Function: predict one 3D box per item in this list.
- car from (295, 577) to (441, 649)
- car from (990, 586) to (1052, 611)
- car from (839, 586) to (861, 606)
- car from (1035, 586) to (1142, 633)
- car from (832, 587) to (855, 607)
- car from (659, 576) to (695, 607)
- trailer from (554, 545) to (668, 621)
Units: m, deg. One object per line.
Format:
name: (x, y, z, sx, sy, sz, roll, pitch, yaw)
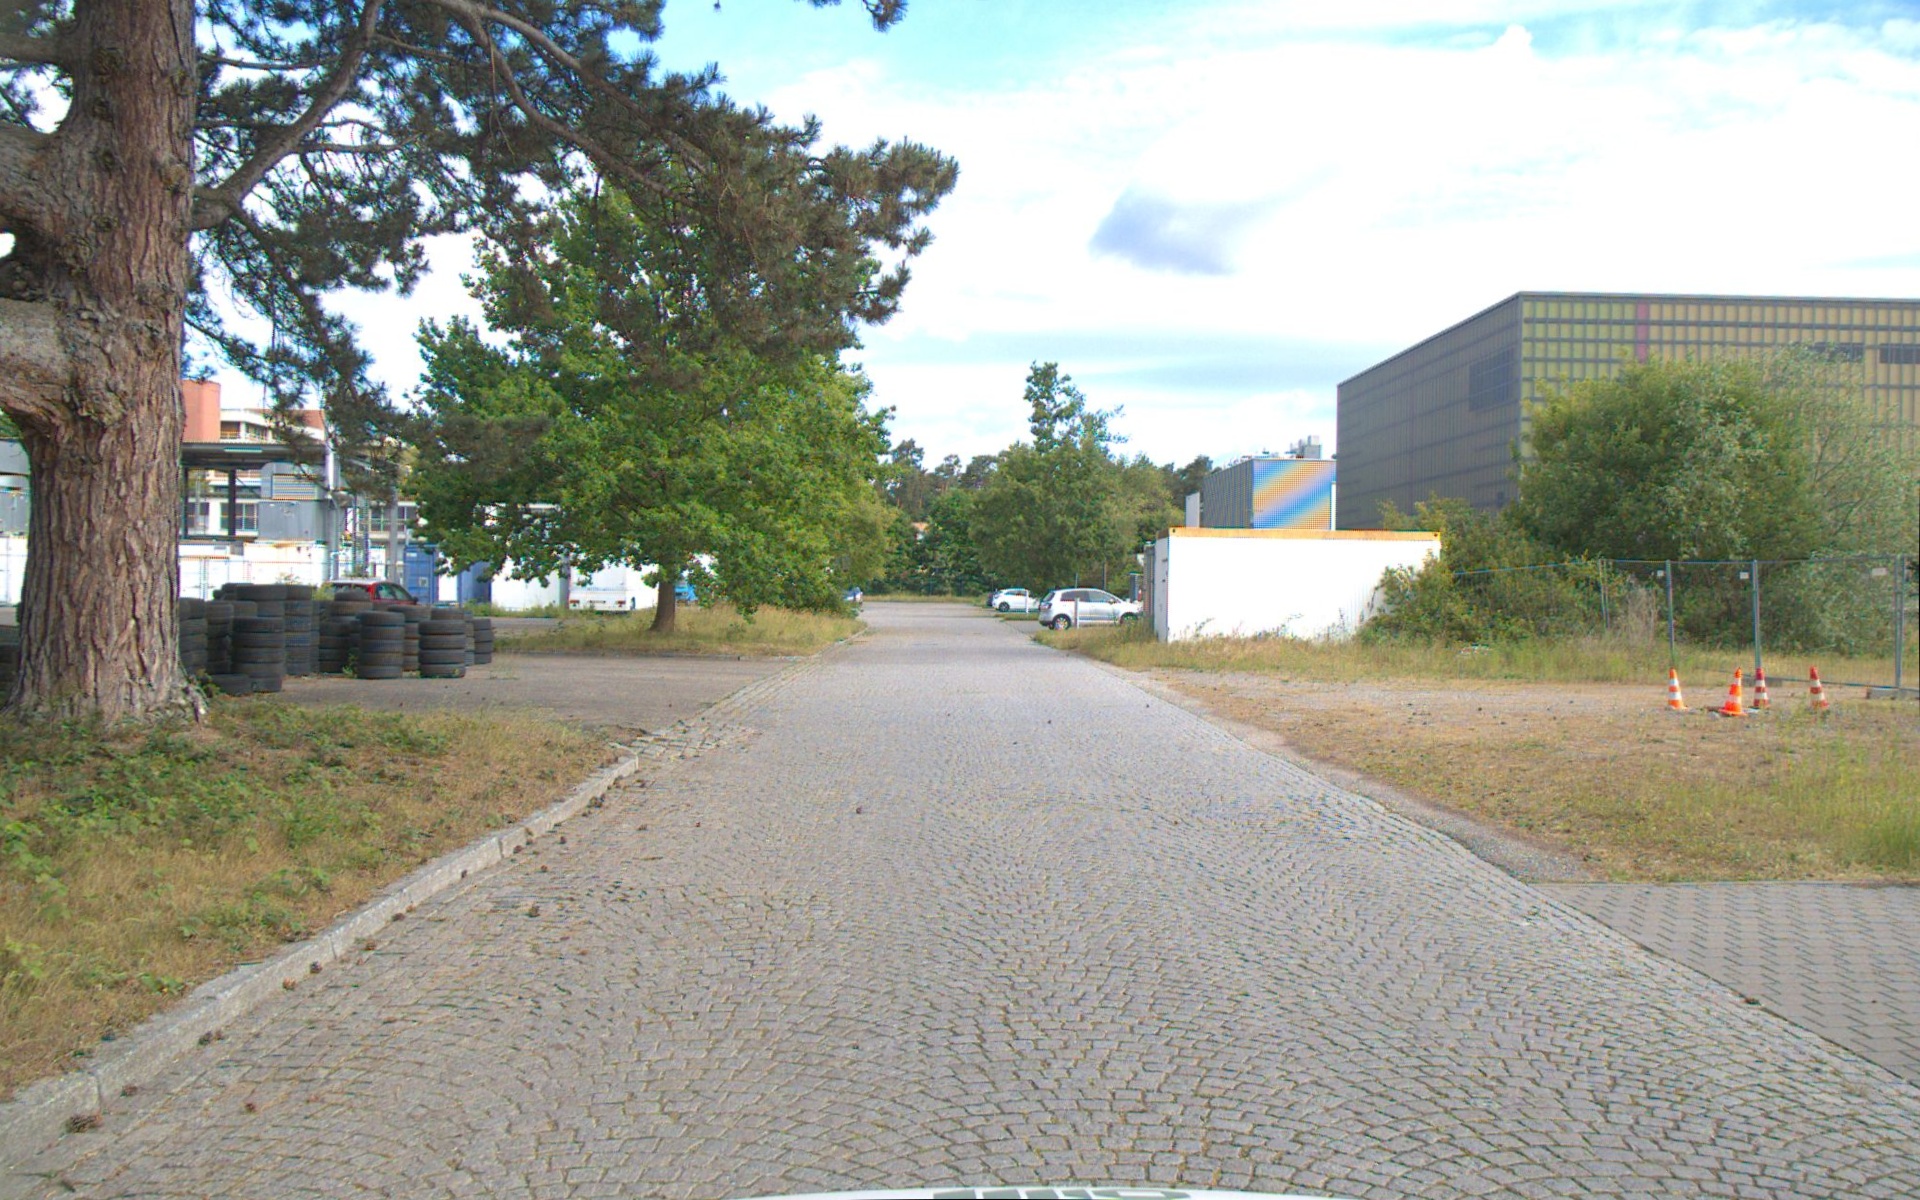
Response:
car: (-12.966, 0.268, 36.417, 1.729, 1.478, 3.490, 1, 0, 4)
car: (3.981, -0.101, 107.803, 3.943, 1.528, 1.548, 1, 0, -1)
car: (-9.015, -0.319, 135.877, 1.768, 1.561, 3.997, 1, 0, -4)
car: (4.778, 0.334, 61.667, 3.773, 1.683, 1.685, 1, 0, -4)
car: (-8.923, -0.248, 126.521, 1.700, 1.495, 4.043, 1, 0, -4)
car: (-19.532, -0.575, 114.331, 1.887, 2.083, 4.597, 1, 0, -4)
trailer: (-15.410, -0.743, 73.807, 3.093, 3.121, 8.785, 1, 0, 1)
